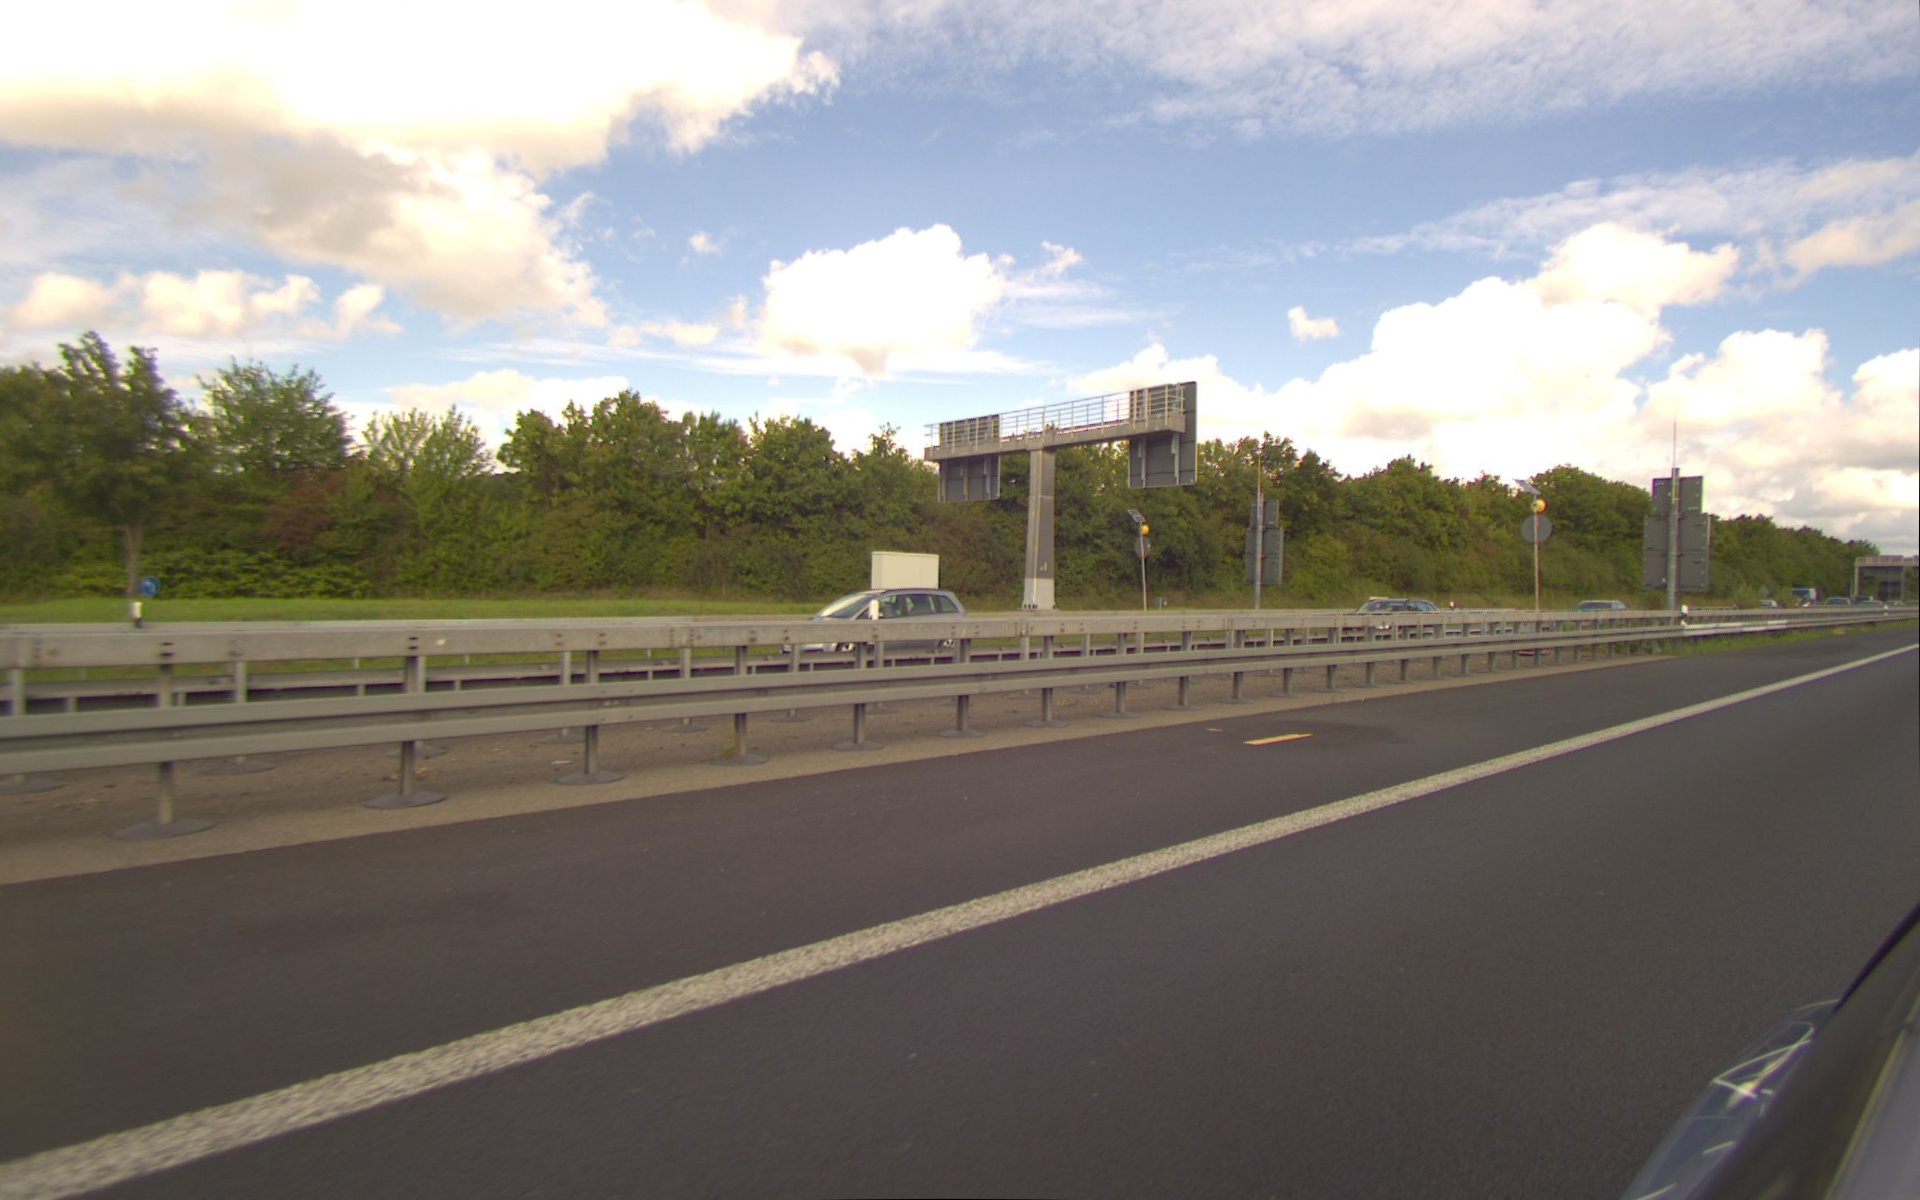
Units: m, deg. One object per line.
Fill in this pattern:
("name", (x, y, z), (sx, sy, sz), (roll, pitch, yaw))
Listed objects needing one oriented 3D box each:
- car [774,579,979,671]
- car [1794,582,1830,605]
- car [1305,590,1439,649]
("car", (-1.726, 0.456, 21.619), (3.931, 1.729, 1.997), (0, 3, -42))
("car", (82.052, -0.635, 97.422), (5.041, 2.213, 1.996), (0, 1, -43))
("car", (11.592, 0.497, 28.402), (3.932, 1.503, 1.996), (0, 2, -43))
